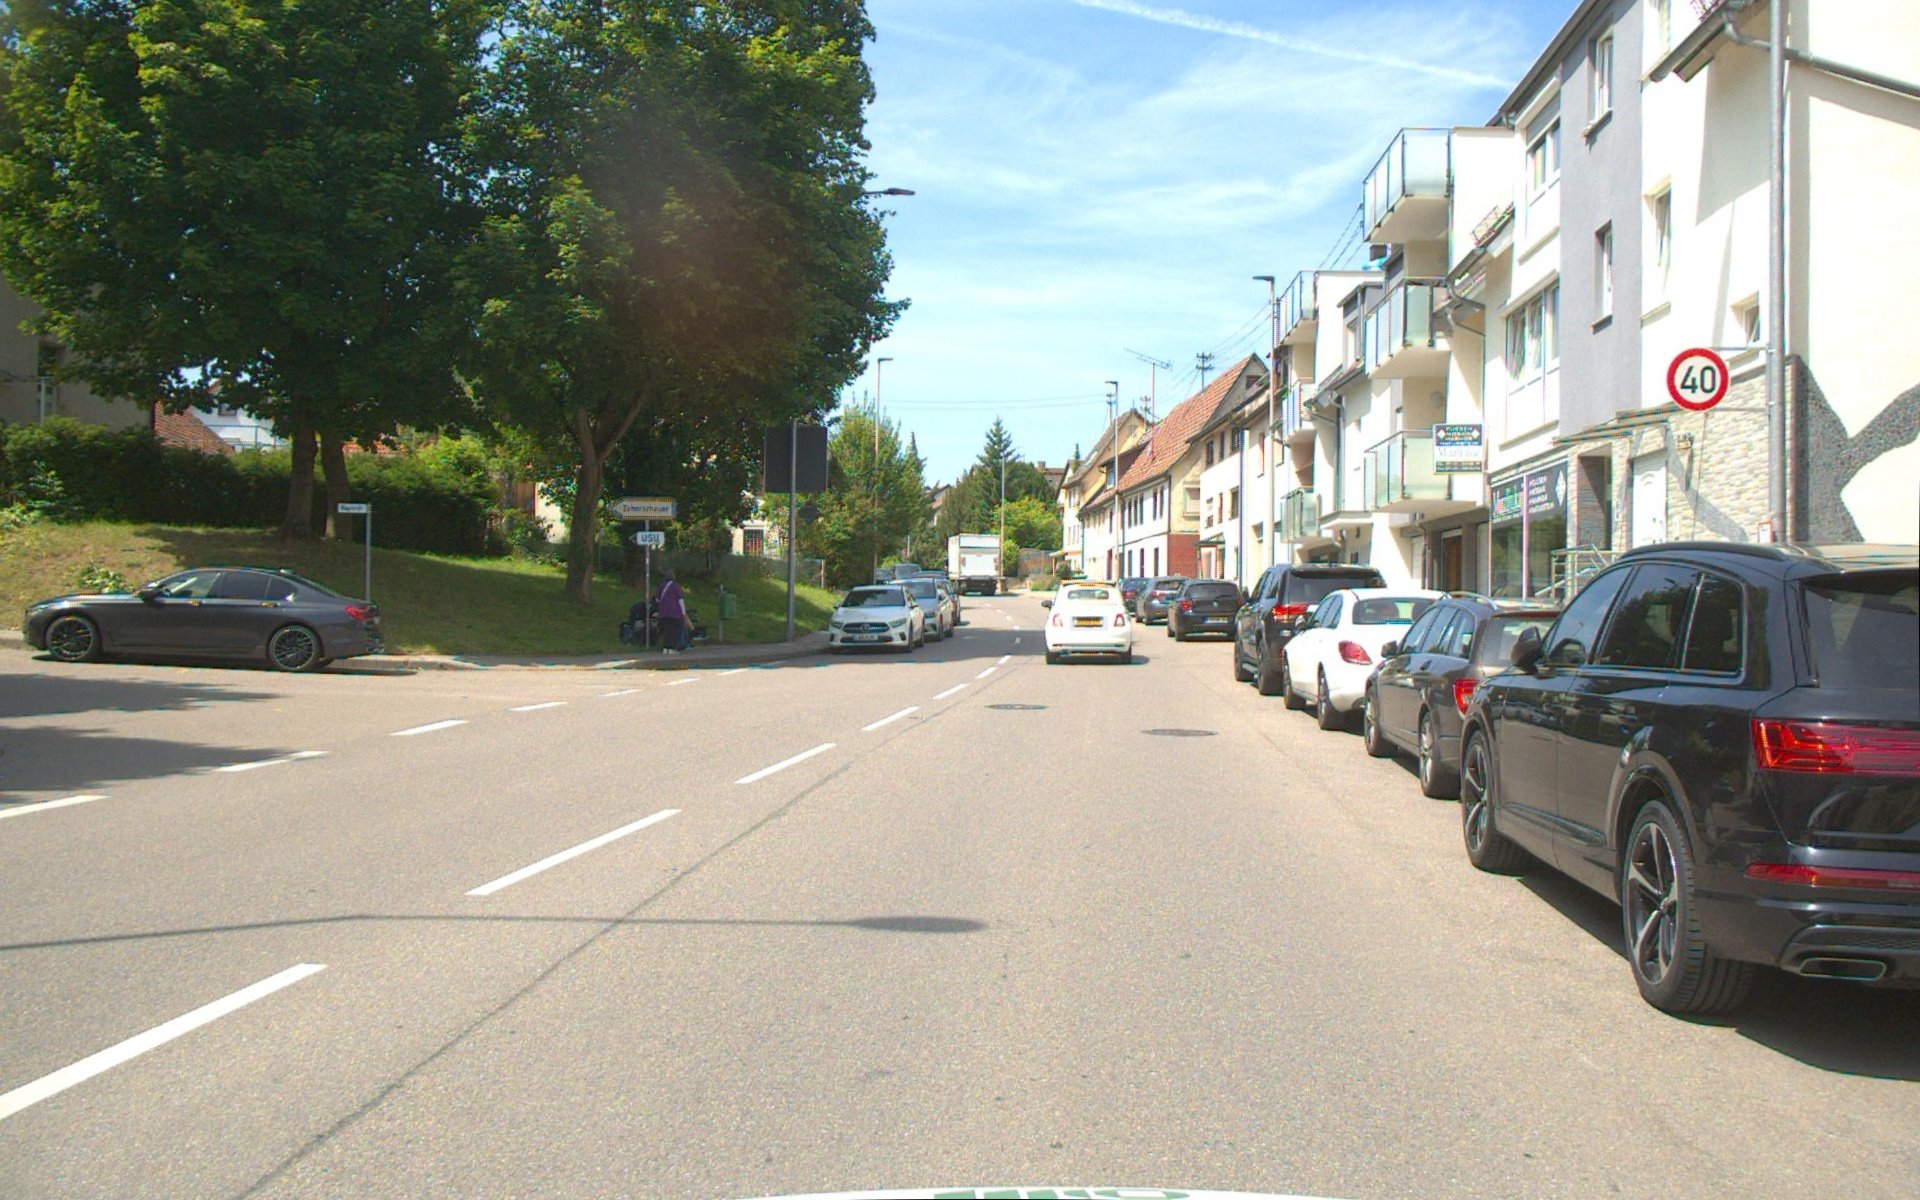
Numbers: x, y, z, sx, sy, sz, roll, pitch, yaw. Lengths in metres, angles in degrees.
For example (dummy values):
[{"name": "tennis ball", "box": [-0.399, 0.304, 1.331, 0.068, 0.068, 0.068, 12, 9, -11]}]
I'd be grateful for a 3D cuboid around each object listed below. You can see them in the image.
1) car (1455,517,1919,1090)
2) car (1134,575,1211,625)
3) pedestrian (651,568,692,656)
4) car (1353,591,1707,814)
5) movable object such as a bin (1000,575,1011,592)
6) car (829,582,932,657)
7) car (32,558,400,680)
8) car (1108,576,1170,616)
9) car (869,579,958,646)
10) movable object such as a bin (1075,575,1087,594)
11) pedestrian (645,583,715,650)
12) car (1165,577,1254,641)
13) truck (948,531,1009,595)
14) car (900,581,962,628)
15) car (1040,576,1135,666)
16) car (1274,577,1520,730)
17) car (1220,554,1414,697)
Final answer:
[{"name": "car", "box": [3.568, 0.609, 7.203, 1.804, 1.699, 4.659, 1, 0, 5]}, {"name": "car", "box": [6.472, -0.034, 50.768, 1.757, 1.427, 4.412, -1, 1, 0]}, {"name": "pedestrian", "box": [-5.487, 0.225, 31.438, 0.717, 1.645, 0.627, 1, 0, -12]}, {"name": "car", "box": [4.372, 0.680, 13.392, 1.751, 1.445, 4.361, 0, 1, 6]}, {"name": "movable object such as a bin", "box": [3.004, -1.103, 109.278, 0.484, 1.051, 0.549, -3, 1, 17]}, {"name": "car", "box": [-1.695, 0.380, 36.592, 1.718, 1.492, 4.365, -2, 1, 4]}, {"name": "car", "box": [-11.081, 0.291, 25.009, 4.694, 1.505, 1.993, 4, 0, -14]}, {"name": "car", "box": [6.414, -0.182, 59.691, 1.632, 1.376, 4.185, 0, 1, -2]}, {"name": "car", "box": [-1.142, 0.281, 42.582, 1.735, 1.553, 4.225, -2, 1, 6]}, {"name": "movable object such as a bin", "box": [6.695, -0.863, 91.532, 0.536, 1.051, 0.551, -3, 1, -4]}, {"name": "pedestrian", "box": [-5.634, 0.328, 33.285, 1.210, 1.291, 0.647, 2, 0, 9]}, {"name": "car", "box": [5.958, 0.189, 39.945, 1.759, 1.449, 4.292, -1, 0, 4]}, {"name": "truck", "box": [1.073, -2.236, 102.777, 3.009, 3.840, 7.859, 0, 0, -5]}, {"name": "car", "box": [-0.901, 0.114, 54.362, 1.767, 1.448, 4.929, -1, 1, 2]}, {"name": "car", "box": [2.429, 0.348, 31.657, 1.688, 1.587, 4.002, 0, 1, 4]}, {"name": "car", "box": [4.744, 0.498, 18.622, 1.751, 1.480, 4.719, 0, 1, 3]}, {"name": "car", "box": [4.979, 0.286, 23.702, 1.913, 1.745, 4.719, 3, 1, 3]}]
